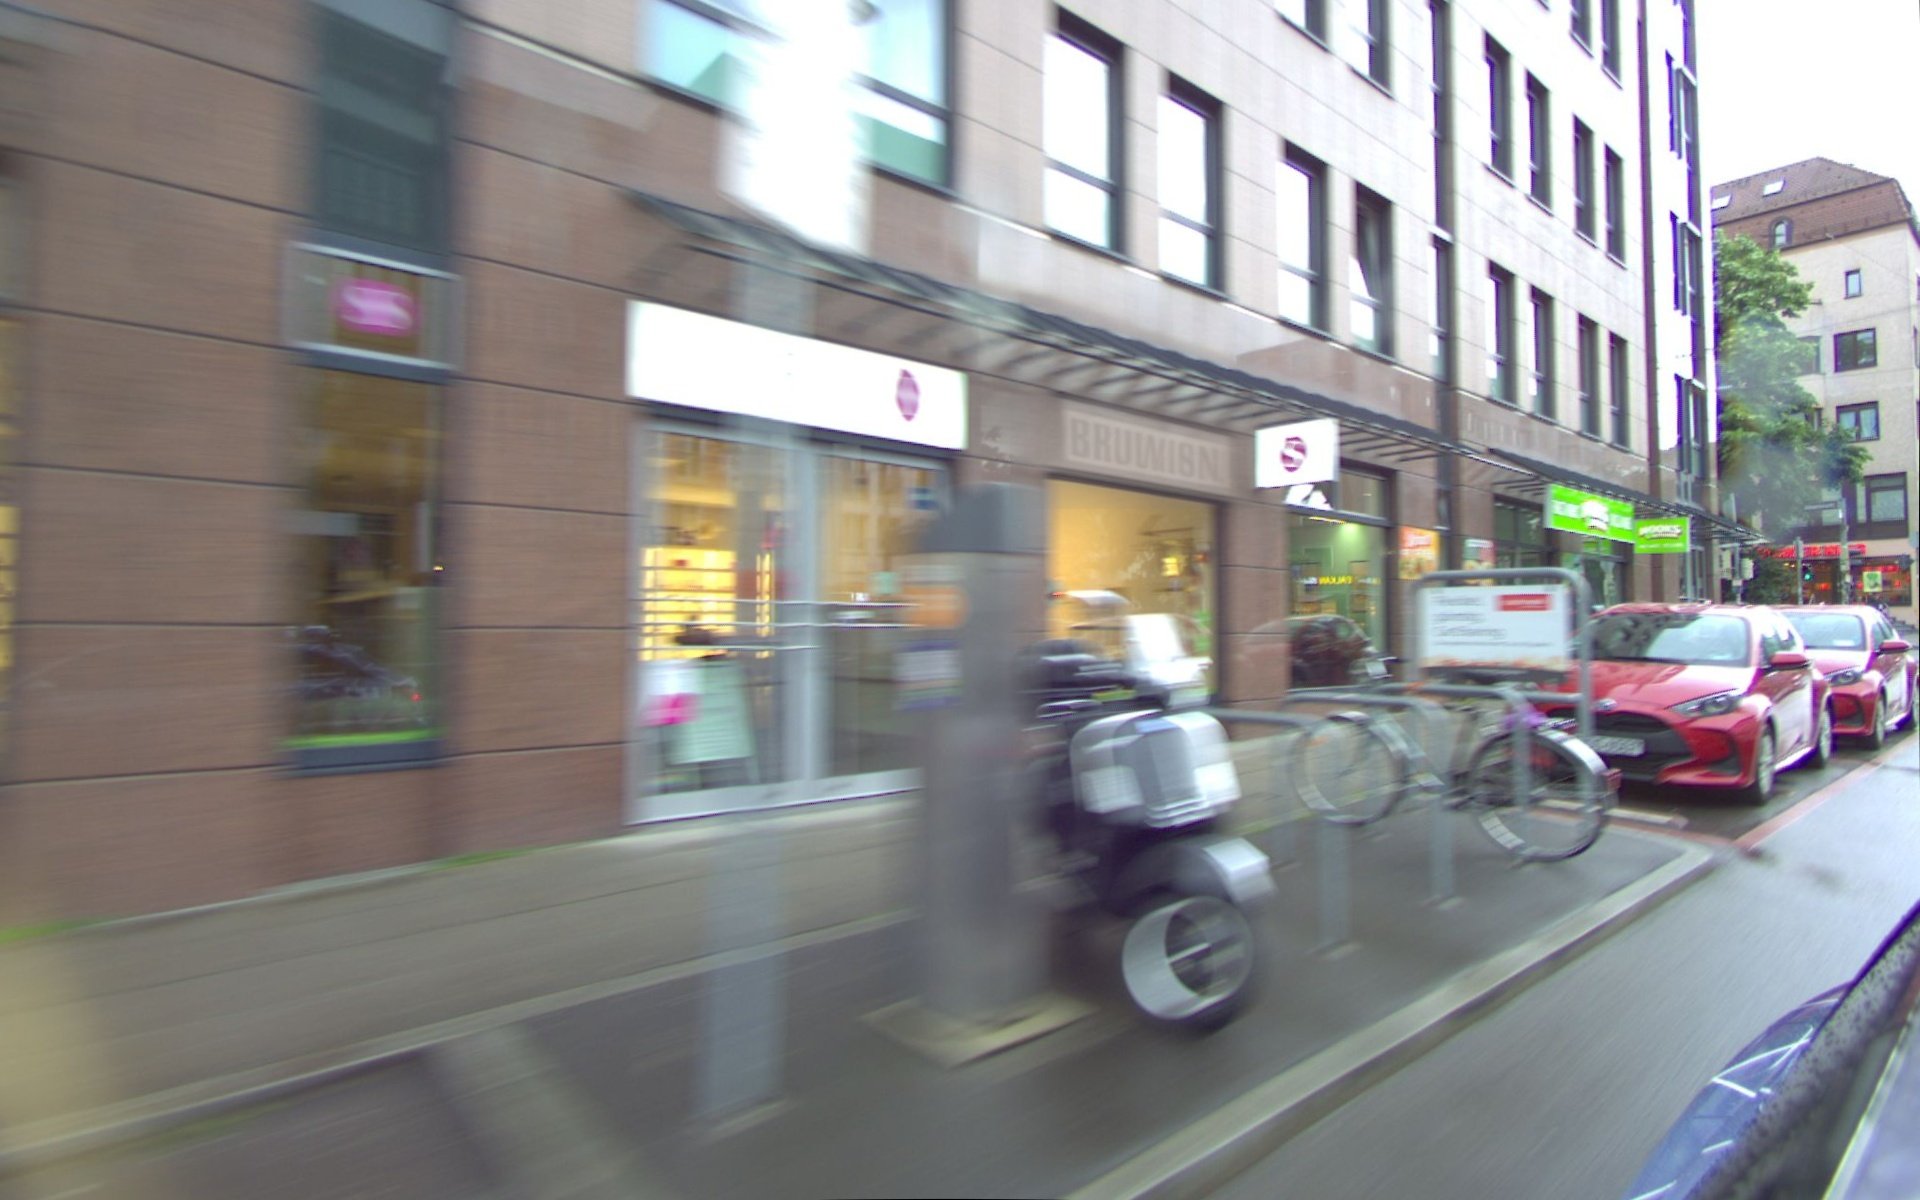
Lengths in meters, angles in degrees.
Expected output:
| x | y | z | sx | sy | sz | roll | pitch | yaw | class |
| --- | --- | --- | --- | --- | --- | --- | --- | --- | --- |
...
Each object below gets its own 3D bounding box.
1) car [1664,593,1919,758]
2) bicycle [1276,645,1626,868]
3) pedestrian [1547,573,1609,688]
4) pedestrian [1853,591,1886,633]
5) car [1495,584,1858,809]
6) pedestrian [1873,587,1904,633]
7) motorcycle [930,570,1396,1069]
| x | y | z | sx | sy | sz | roll | pitch | yaw | class |
| --- | --- | --- | --- | --- | --- | --- | --- | --- | --- |
| 9.621 | 0.701 | 11.473 | 3.797 | 1.498 | 1.703 | -1 | 2 | -39 | car |
| 2.760 | 0.818 | 5.879 | 0.454 | 1.044 | 1.790 | -1 | 0 | -40 | bicycle |
| 9.285 | 0.442 | 15.213 | 0.614 | 1.680 | 0.603 | -1 | 0 | -40 | pedestrian |
| 36.429 | 0.477 | 40.545 | 0.614 | 1.670 | 0.725 | -1 | 0 | 1 | pedestrian |
| 6.294 | 0.626 | 8.743 | 3.800 | 1.480 | 1.702 | -1 | 2 | -41 | car |
| 37.511 | 0.407 | 40.894 | 0.585 | 1.843 | 0.667 | -1 | 0 | 1 | pedestrian |
| 0.615 | 0.626 | 4.021 | 0.782 | 1.425 | 2.094 | -1 | 0 | -21 | motorcycle |
